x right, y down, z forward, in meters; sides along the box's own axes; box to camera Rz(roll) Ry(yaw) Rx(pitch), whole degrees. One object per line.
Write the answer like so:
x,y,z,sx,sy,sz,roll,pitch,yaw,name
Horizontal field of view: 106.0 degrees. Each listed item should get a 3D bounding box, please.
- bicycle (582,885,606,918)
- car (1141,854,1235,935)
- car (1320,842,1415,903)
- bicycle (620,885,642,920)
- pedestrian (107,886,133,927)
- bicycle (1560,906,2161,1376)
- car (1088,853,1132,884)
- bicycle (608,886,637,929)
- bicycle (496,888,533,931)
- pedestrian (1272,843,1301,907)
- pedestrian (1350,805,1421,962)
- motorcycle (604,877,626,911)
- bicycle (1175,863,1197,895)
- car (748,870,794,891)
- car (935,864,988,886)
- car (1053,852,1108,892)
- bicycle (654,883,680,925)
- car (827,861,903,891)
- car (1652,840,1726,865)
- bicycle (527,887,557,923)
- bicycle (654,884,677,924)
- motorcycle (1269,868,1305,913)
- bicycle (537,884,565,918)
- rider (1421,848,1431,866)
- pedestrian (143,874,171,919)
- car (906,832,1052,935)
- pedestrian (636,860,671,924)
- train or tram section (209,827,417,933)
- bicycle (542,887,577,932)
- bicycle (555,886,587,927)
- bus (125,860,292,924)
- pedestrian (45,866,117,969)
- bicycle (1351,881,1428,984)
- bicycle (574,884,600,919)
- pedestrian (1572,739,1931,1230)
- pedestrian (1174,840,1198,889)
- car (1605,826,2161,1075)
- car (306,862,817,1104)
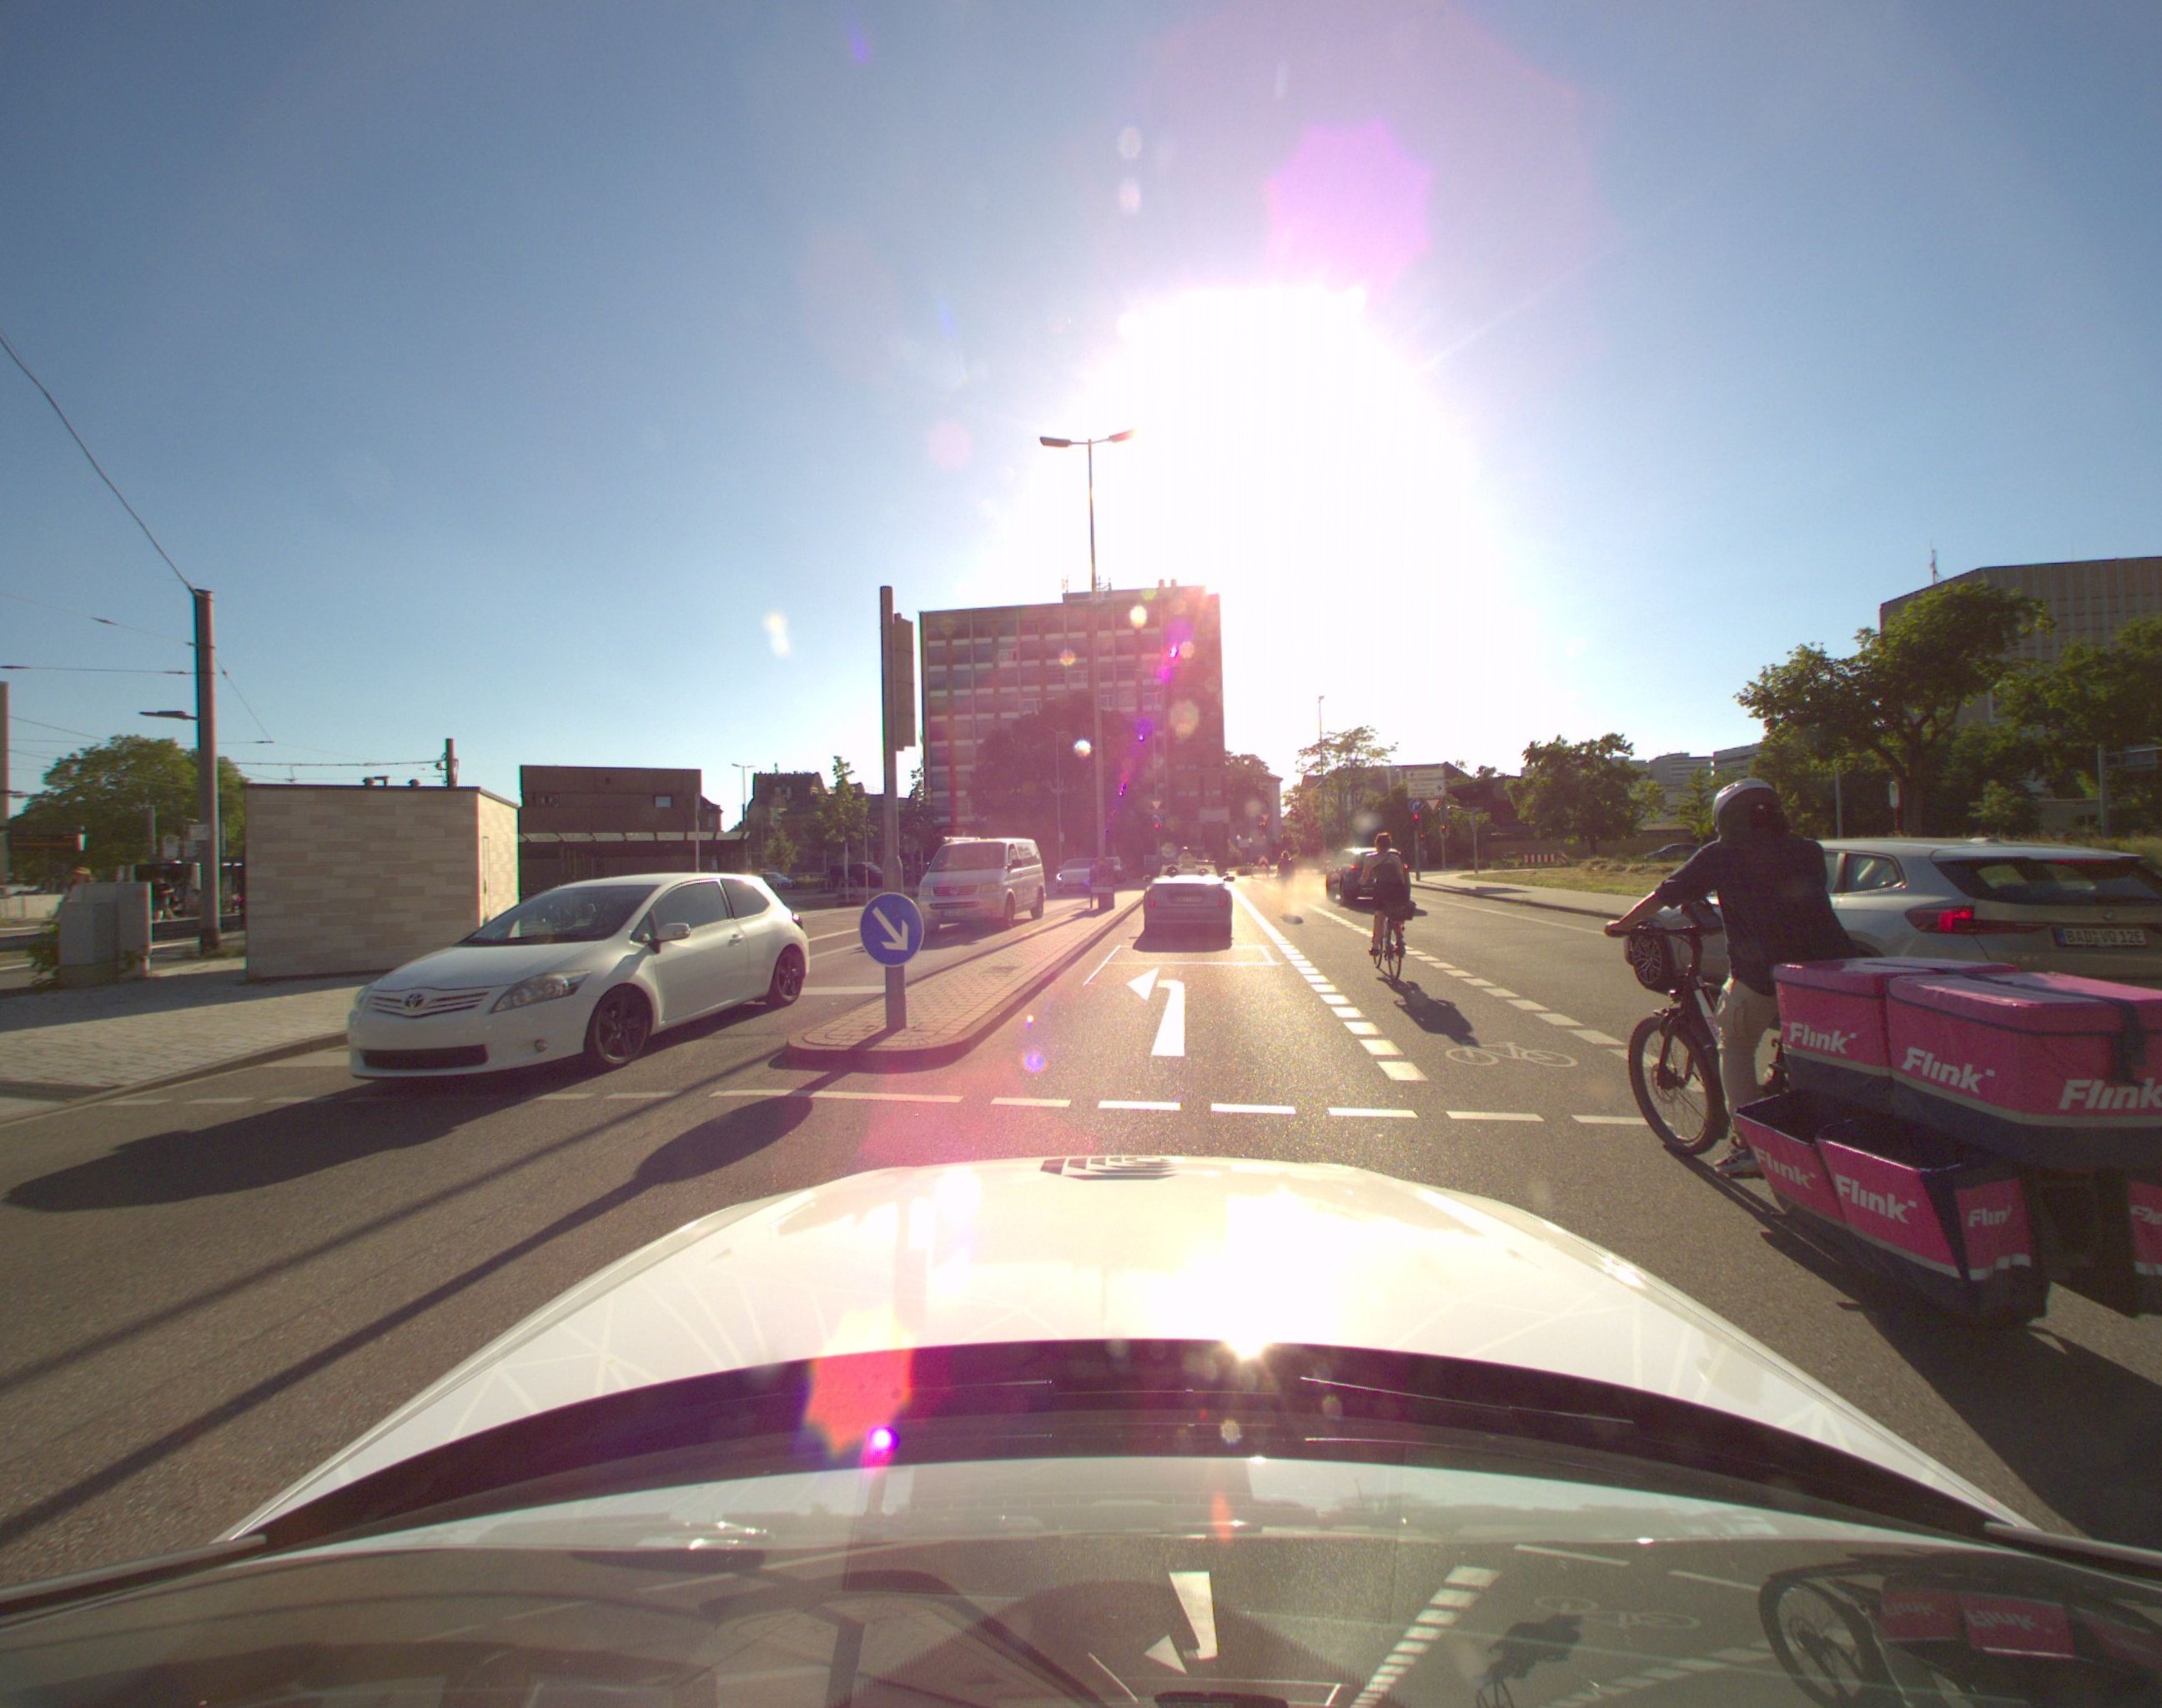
-17.464,1.674,29.253,0.610,1.115,1.879,1,-1,-27,bicycle
2.147,0.764,16.637,1.651,1.441,4.161,0,-1,7,car
8.590,0.564,24.790,1.821,1.689,4.376,0,-1,7,car
-15.429,1.642,27.966,0.610,1.115,1.879,1,-1,-27,bicycle
-42.506,2.297,36.028,0.574,1.749,0.633,-1,-1,-35,pedestrian
2.876,0.860,3.432,0.551,1.171,2.376,0,-1,7,bicycle
1.660,0.753,44.963,1.788,1.530,4.012,-3,-1,10,car
-12.786,1.461,22.740,0.610,1.115,1.879,1,-1,-27,bicycle
-15.970,1.548,22.990,0.610,1.115,1.879,1,-1,-27,bicycle
5.307,0.541,21.079,0.584,1.598,1.027,0,-1,7,pedestrian
3.786,0.363,10.180,0.655,1.869,0.875,0,-1,10,pedestrian
-19.664,1.659,34.393,0.770,1.390,1.879,1,-2,-29,motorcycle
4.006,0.942,30.962,0.604,1.192,2.422,0,-1,12,bicycle
-24.532,2.100,64.445,3.553,1.560,1.655,-2,-1,35,car
-9.072,1.594,61.960,3.609,1.560,1.658,-2,-1,18,car
0.045,0.735,35.028,1.789,1.530,4.008,-3,-1,7,car
-11.789,1.409,23.175,0.610,1.115,1.879,1,-1,-27,bicycle
-15.807,1.621,59.624,5.103,1.894,2.260,-3,-1,28,car
40.581,-0.094,54.432,3.609,1.560,1.657,-2,-1,17,car
-17.710,1.647,26.798,0.610,1.115,1.879,1,-1,-27,bicycle
-12.714,1.506,24.906,0.610,1.115,1.879,1,-1,-27,bicycle
5.317,0.929,21.132,0.610,1.098,2.365,0,-1,7,motorcycle
-18.606,1.640,28.622,0.610,1.115,1.879,1,-1,-27,bicycle
30.850,0.290,72.767,0.745,1.598,0.592,-1,-2,20,rider
-36.381,1.668,32.075,0.643,1.749,0.565,-1,-1,-42,pedestrian
-2.124,0.589,18.524,1.897,1.945,4.719,-3,-1,10,car
-12.707,1.118,24.214,0.906,1.869,0.681,1,-2,-28,pedestrian
-30.951,0.994,33.643,2.897,3.597,12.090,1,-1,-27,train or tram section
-14.077,1.472,22.014,0.610,1.115,1.879,1,-1,-27,bicycle
-14.947,1.516,23.894,0.610,1.115,1.879,1,-1,-27,bicycle
-50.617,2.070,47.872,2.737,3.274,13.336,1,-1,-30,bus
-17.636,1.096,14.380,0.642,1.749,0.566,-1,-1,-34,pedestrian
3.836,0.921,10.241,0.560,1.151,1.955,0,-1,11,bicycle
-16.593,1.583,27.373,0.610,1.115,1.879,1,-1,-27,bicycle
2.856,0.502,3.612,0.802,1.869,0.957,0,-1,4,pedestrian
4.012,0.405,31.029,0.828,1.869,0.924,0,-1,12,pedestrian
6.879,0.654,7.427,1.778,1.594,4.336,0,-1,6,car
-4.166,0.894,7.442,1.685,1.560,3.989,-2,0,8,car
